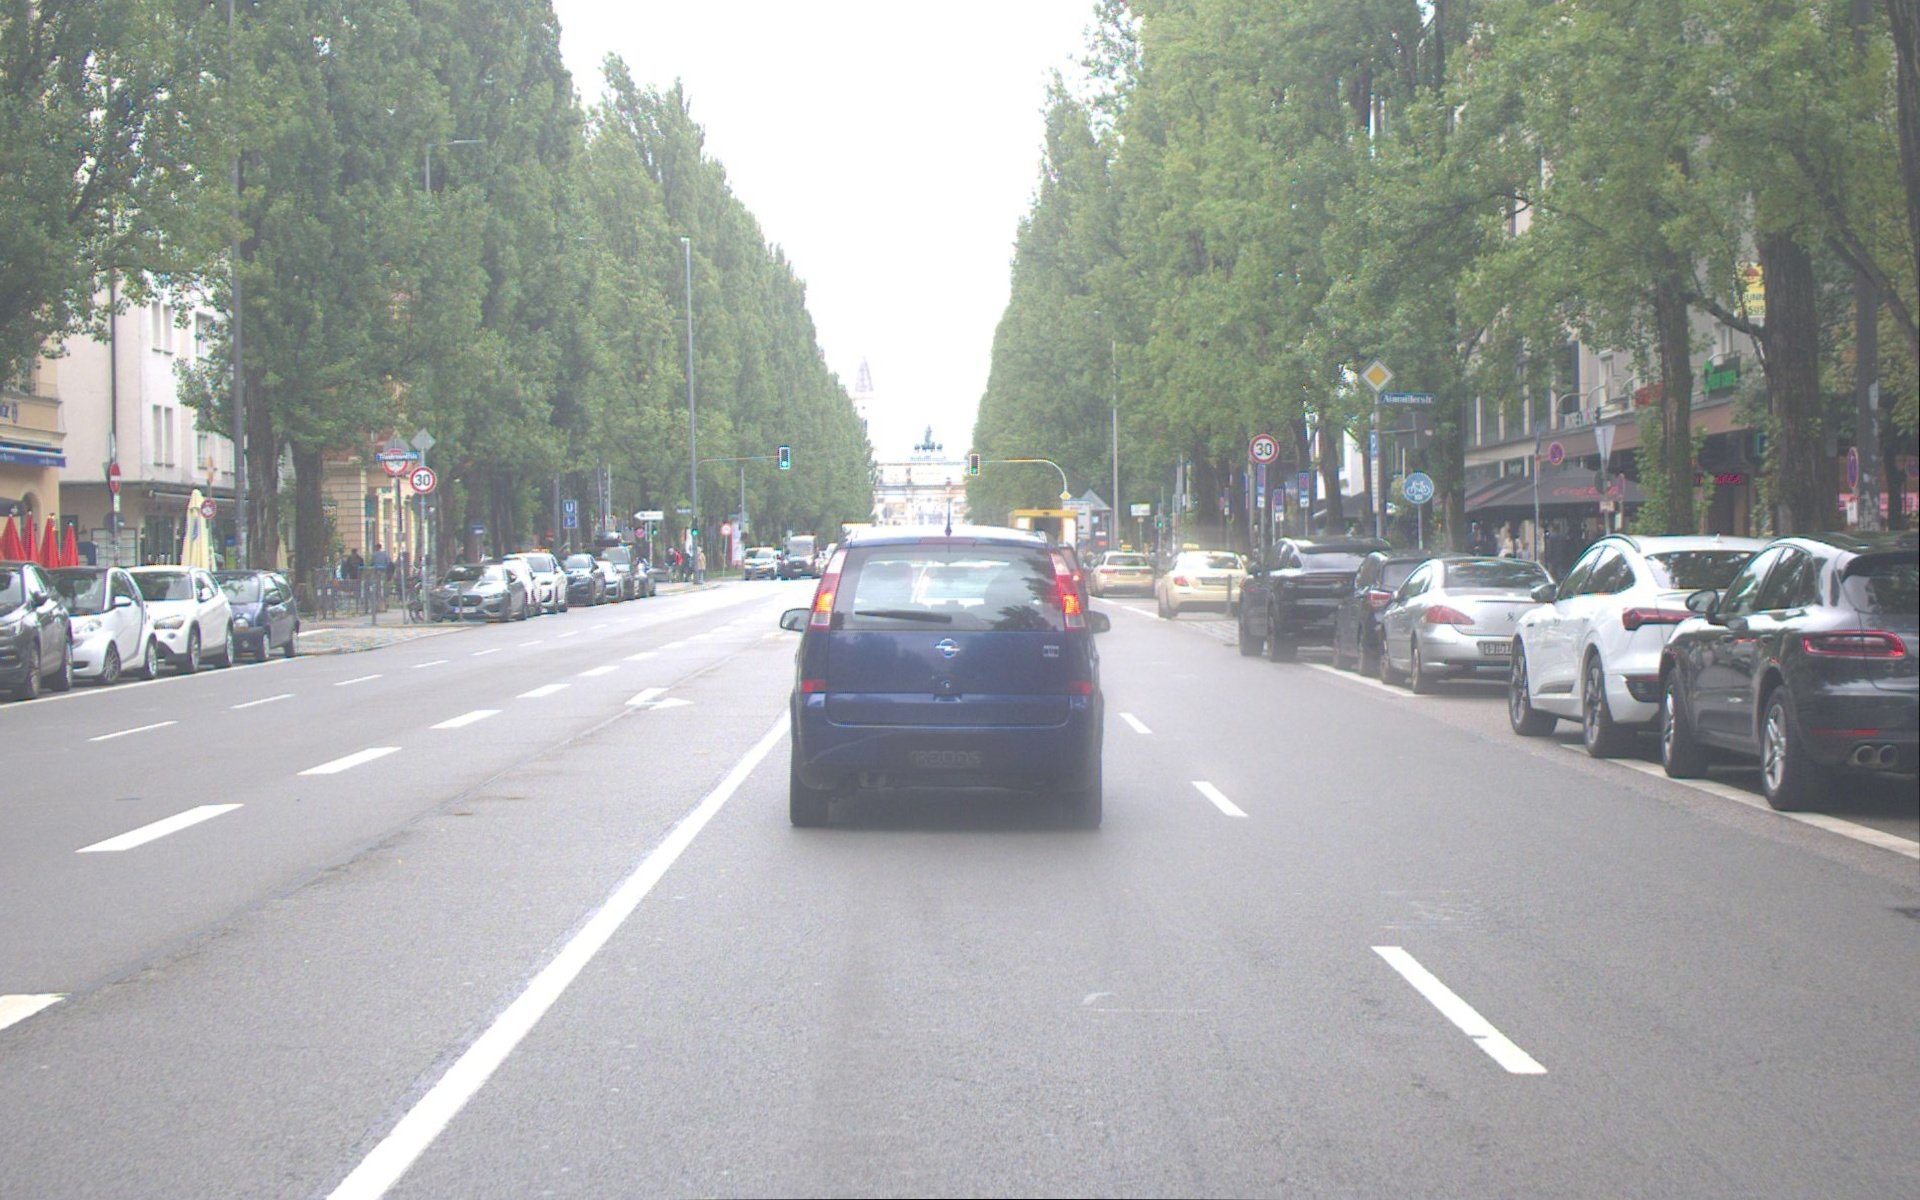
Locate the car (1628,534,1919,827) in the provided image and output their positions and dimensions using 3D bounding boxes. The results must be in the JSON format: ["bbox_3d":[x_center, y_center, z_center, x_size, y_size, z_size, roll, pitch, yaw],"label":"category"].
[{"bbox_3d":[5.543,0.392,20.890,1.993,1.560,4.484,-1,1,-1],"label":"car"}]

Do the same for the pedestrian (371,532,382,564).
[{"bbox_3d":[-19.808,-1.775,116.762,0.289,1.086,0.258,-1,1,5],"label":"pedestrian"}]

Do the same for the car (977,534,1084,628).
[{"bbox_3d":[1.210,-0.356,60.651,1.706,1.568,4.000,-1,1,-1],"label":"car"}]

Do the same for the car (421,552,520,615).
[{"bbox_3d":[-11.597,-0.418,81.703,1.830,1.415,3.811,-1,1,-1],"label":"car"}]

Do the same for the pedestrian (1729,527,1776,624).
[{"bbox_3d":[14.463,-0.444,62.757,0.653,1.745,0.860,1,1,0],"label":"pedestrian"}]

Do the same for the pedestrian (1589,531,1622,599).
[{"bbox_3d":[14.684,-0.797,78.173,0.640,1.521,0.484,-1,1,0],"label":"pedestrian"}]

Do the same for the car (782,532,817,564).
[{"bbox_3d":[-9.036,-2.937,194.097,1.835,1.733,3.779,-1,1,-1],"label":"car"}]

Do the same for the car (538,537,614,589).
[{"bbox_3d":[-11.659,-1.147,104.526,1.961,1.525,4.000,-1,1,-2],"label":"car"}]

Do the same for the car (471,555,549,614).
[{"bbox_3d":[-11.468,-0.415,87.788,1.547,1.448,3.458,-1,1,-1],"label":"car"}]

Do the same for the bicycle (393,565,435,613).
[{"bbox_3d":[-12.067,-0.252,75.998,0.665,1.002,2.462,-1,1,-4],"label":"bicycle"}]

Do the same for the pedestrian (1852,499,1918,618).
[{"bbox_3d":[14.219,-0.641,52.872,0.792,1.806,0.682,-1,1,-2],"label":"pedestrian"}]

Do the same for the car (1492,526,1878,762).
[{"bbox_3d":[5.371,0.261,26.092,1.827,1.615,4.748,0,1,-1],"label":"car"}]

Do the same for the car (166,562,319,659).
[{"bbox_3d":[-11.301,0.144,54.335,1.586,1.442,3.390,-1,1,2],"label":"car"}]

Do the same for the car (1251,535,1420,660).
[{"bbox_3d":[5.024,-0.068,46.447,1.797,1.588,4.104,1,1,0],"label":"car"}]

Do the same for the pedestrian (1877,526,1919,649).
[{"bbox_3d":[12.379,-0.163,44.794,0.653,1.595,0.704,1,1,0],"label":"pedestrian"}]

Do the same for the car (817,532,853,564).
[{"bbox_3d":[-6.721,-2.800,184.973,1.835,1.671,3.779,-1,1,-1],"label":"car"}]

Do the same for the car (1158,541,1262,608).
[{"bbox_3d":[5.310,-0.572,73.468,1.897,1.358,3.900,-1,1,0],"label":"car"}]

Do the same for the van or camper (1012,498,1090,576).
[{"bbox_3d":[3.094,-2.170,118.732,2.477,2.572,5.844,-1,1,0],"label":"van or camper"}]

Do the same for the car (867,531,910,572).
[{"bbox_3d":[-3.161,-2.161,151.595,1.835,1.755,3.779,-1,1,-1],"label":"car"}]

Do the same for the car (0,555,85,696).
[{"bbox_3d":[-11.613,0.273,40.625,1.840,1.560,4.180,-1,1,-6],"label":"car"}]

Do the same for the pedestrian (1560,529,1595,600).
[{"bbox_3d":[13.346,-0.763,74.314,0.640,1.521,0.484,-1,1,0],"label":"pedestrian"}]

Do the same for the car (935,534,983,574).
[{"bbox_3d":[-0.048,-1.957,145.842,1.961,1.671,3.779,-1,1,-1],"label":"car"}]

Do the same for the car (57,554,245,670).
[{"bbox_3d":[-11.481,0.139,49.026,1.835,1.541,4.087,-1,1,-2],"label":"car"}]

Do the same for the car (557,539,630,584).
[{"bbox_3d":[-11.774,-1.242,110.665,1.961,1.394,3.779,-1,1,-1],"label":"car"}]

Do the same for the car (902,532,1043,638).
[{"bbox_3d":[0.148,-0.261,51.600,1.993,1.492,4.000,-1,1,-1],"label":"car"}]

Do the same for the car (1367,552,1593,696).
[{"bbox_3d":[5.439,0.213,36.410,1.670,1.401,4.128,1,1,-1],"label":"car"}]

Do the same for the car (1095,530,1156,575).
[{"bbox_3d":[5.182,-1.493,107.872,1.669,1.348,4.104,-1,1,0],"label":"car"}]

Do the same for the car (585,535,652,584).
[{"bbox_3d":[-12.035,-1.431,121.317,1.993,1.656,4.000,-1,1,-1],"label":"car"}]

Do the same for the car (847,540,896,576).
[{"bbox_3d":[-3.602,-1.726,140.907,1.961,1.394,3.779,-1,1,-1],"label":"car"}]

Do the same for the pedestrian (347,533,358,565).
[{"bbox_3d":[-20.633,-1.738,116.761,0.289,1.086,0.258,-1,1,5],"label":"pedestrian"}]

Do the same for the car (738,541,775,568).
[{"bbox_3d":[-11.903,-2.669,201.450,1.961,1.543,3.779,-1,1,-1],"label":"car"}]

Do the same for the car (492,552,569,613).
[{"bbox_3d":[-11.575,-0.490,92.718,1.654,1.556,3.458,-1,1,-1],"label":"car"}]

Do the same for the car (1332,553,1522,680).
[{"bbox_3d":[5.509,0.162,40.894,1.681,1.410,3.583,1,1,-1],"label":"car"}]

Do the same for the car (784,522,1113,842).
[{"bbox_3d":[-0.108,0.379,19.594,1.681,1.635,4.000,0,1,-1],"label":"car"}]

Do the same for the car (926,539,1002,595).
[{"bbox_3d":[0.087,-0.923,95.200,1.993,1.492,4.000,-1,1,-1],"label":"car"}]

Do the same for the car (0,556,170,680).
[{"bbox_3d":[-11.548,0.215,45.105,1.573,1.528,2.922,-1,1,2],"label":"car"}]
